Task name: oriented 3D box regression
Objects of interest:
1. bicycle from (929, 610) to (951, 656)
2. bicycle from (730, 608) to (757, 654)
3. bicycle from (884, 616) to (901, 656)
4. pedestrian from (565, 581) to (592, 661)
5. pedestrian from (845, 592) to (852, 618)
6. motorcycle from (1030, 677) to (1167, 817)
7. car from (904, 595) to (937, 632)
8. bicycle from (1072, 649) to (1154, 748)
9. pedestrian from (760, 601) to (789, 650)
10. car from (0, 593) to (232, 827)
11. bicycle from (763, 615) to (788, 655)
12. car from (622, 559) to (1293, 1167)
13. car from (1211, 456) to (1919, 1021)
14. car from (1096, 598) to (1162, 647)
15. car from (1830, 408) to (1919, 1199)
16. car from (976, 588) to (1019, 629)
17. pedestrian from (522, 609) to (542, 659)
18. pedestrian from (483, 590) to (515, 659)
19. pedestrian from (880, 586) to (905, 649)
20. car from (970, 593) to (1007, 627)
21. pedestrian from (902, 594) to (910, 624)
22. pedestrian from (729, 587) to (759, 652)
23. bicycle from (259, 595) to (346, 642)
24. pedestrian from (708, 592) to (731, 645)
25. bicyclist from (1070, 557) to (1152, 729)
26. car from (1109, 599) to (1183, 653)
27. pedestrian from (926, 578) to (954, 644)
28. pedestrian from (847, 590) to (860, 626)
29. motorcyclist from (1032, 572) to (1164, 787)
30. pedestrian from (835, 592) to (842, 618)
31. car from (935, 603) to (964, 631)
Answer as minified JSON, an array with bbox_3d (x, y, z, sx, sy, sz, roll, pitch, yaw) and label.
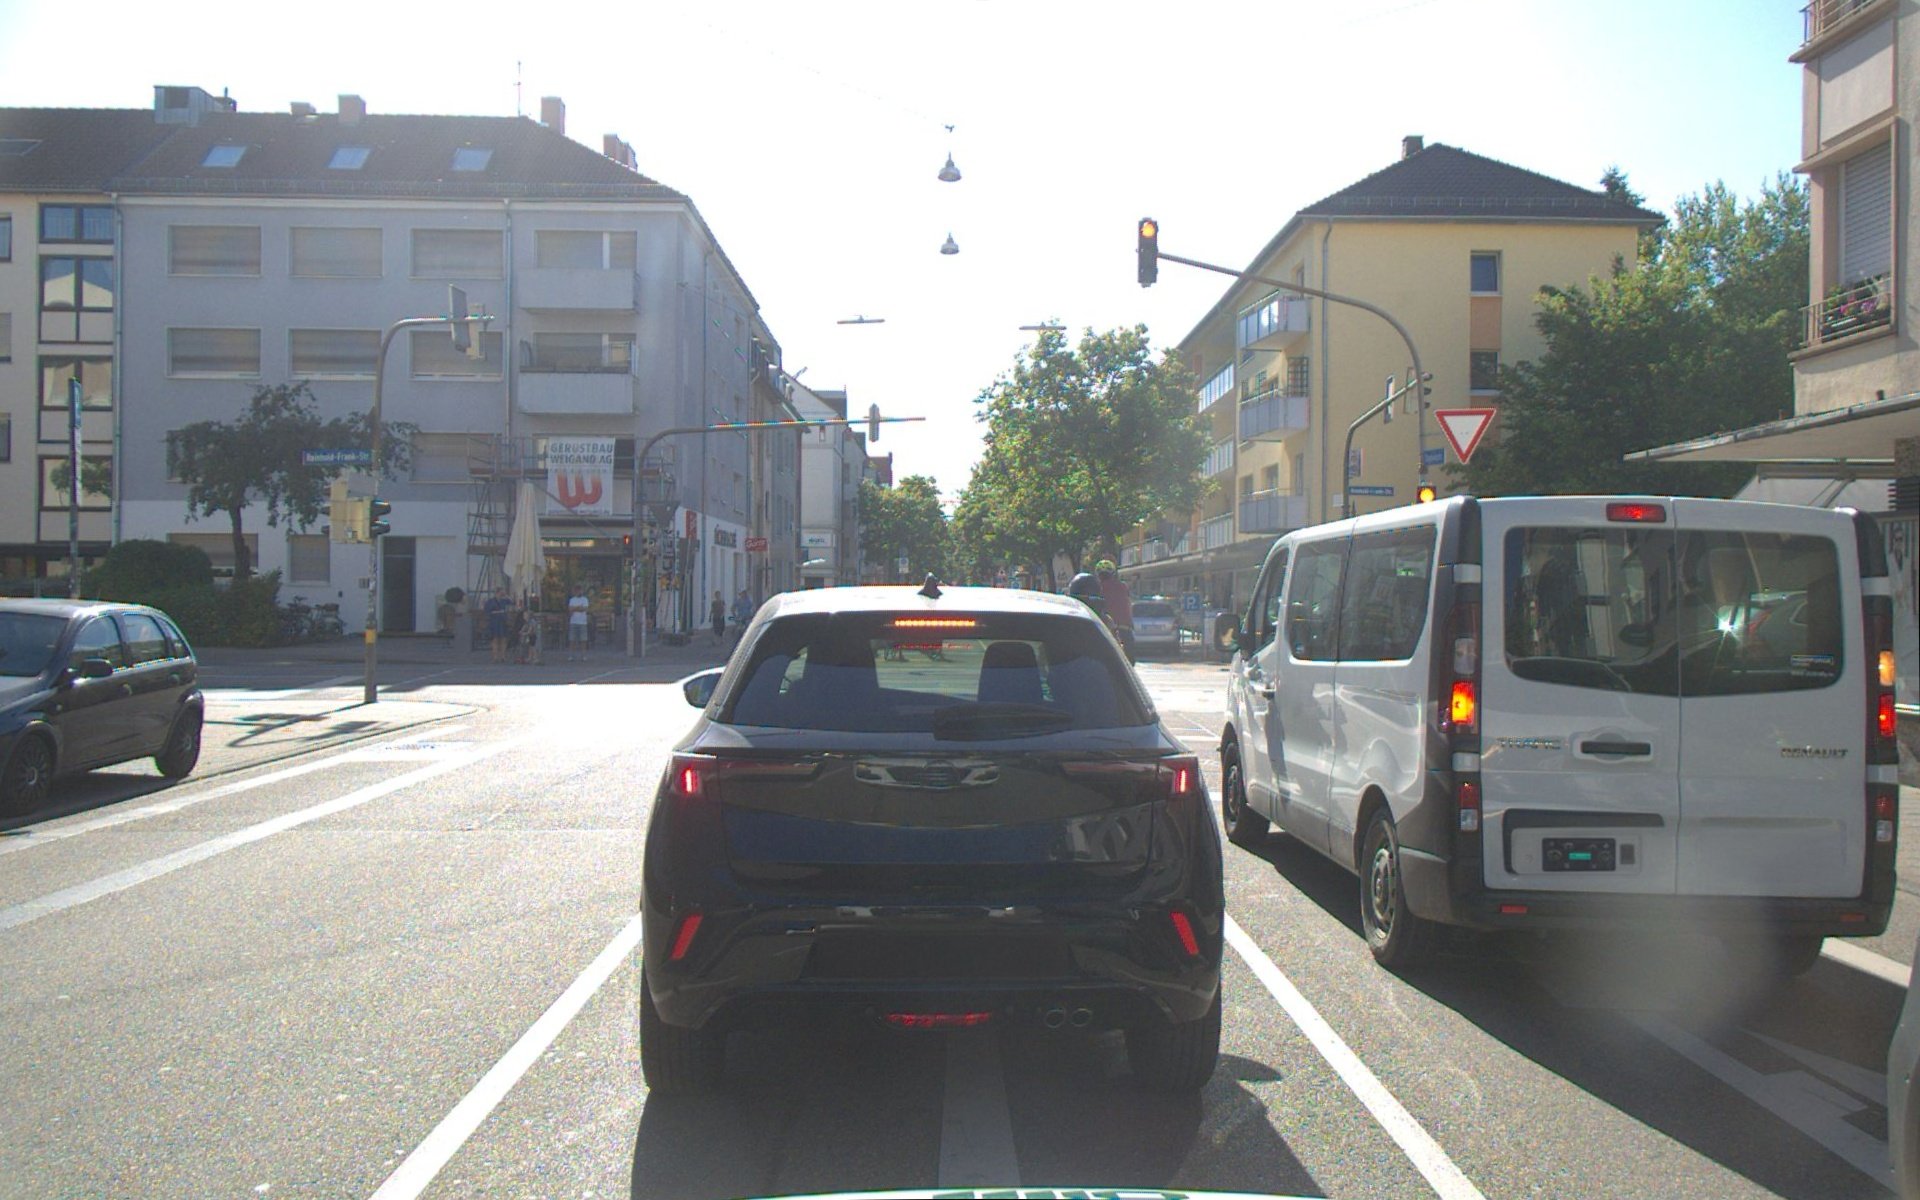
[{"bbox_3d":[-0.544,0.852,43.674,0.511,1.167,2.169,0,0,-3],"label":"bicycle"},{"bbox_3d":[-5.731,0.815,43.788,0.511,1.167,2.282,0,0,-3],"label":"bicycle"},{"bbox_3d":[-1.804,0.938,43.861,0.434,1.010,2.068,0,0,-3],"label":"bicycle"},{"bbox_3d":[-8.751,0.471,37.923,0.550,1.806,0.582,1,0,-9],"label":"pedestrian"},{"bbox_3d":[-7.214,0.329,107.022,0.394,1.704,0.417,0,0,-1],"label":"pedestrian"},{"bbox_3d":[0.978,1.041,12.164,0.808,0.860,1.884,0,0,-1],"label":"motorcycle"},{"bbox_3d":[-2.211,0.721,93.434,1.817,2.049,3.880,0,0,-1],"label":"car"},{"bbox_3d":[1.602,1.016,17.626,0.565,0.920,2.300,0,0,-3],"label":"bicycle"},{"bbox_3d":[-4.869,0.657,43.516,0.692,1.275,0.802,0,0,-3],"label":"pedestrian"},{"bbox_3d":[-7.084,0.716,12.415,1.584,1.450,3.709,3,0,-1],"label":"car"},{"bbox_3d":[-4.867,0.919,43.742,0.511,1.010,2.338,0,0,-3],"label":"bicycle"},{"bbox_3d":[-0.083,0.670,6.285,1.735,1.557,3.998,0,0,-3],"label":"car"},{"bbox_3d":[2.721,0.506,8.492,1.953,2.014,4.894,2,0,-2],"label":"car"},{"bbox_3d":[5.268,0.688,51.941,1.601,1.458,3.999,0,0,-1],"label":"car"},{"bbox_3d":[2.987,0.573,1.238,1.800,1.901,4.992,0,0,-4],"label":"car"},{"bbox_3d":[1.673,0.365,74.184,1.863,1.758,4.073,0,0,0],"label":"car"},{"bbox_3d":[-9.636,0.771,37.238,0.348,1.111,0.461,0,0,-4],"label":"pedestrian"},{"bbox_3d":[-10.374,0.545,37.234,0.573,1.547,0.649,0,0,-4],"label":"pedestrian"},{"bbox_3d":[-1.784,0.460,43.699,0.666,1.634,0.762,0,0,-3],"label":"pedestrian"},{"bbox_3d":[1.482,0.509,87.330,1.863,1.758,4.000,0,0,0],"label":"car"},{"bbox_3d":[-3.099,0.514,95.035,0.478,1.719,0.588,0,0,-1],"label":"pedestrian"},{"bbox_3d":[-5.684,0.509,43.573,0.692,1.707,0.802,0,0,-3],"label":"pedestrian"},{"bbox_3d":[-16.890,0.475,42.486,2.067,1.193,0.735,0,0,-25],"label":"bicycle"},{"bbox_3d":[-7.001,0.530,48.096,0.605,1.547,0.724,0,0,-4],"label":"pedestrian"},{"bbox_3d":[1.580,0.431,17.487,0.675,1.742,1.413,0,0,-3],"label":"bicyclist"},{"bbox_3d":[5.277,0.719,47.282,1.601,1.458,3.956,0,0,-1],"label":"car"},{"bbox_3d":[-0.526,0.291,43.626,0.692,1.731,0.802,0,0,-3],"label":"pedestrian"},{"bbox_3d":[-5.226,0.389,81.265,0.558,1.719,0.588,0,0,1],"label":"pedestrian"},{"bbox_3d":[1.005,0.564,12.329,0.846,1.528,1.159,0,0,-2],"label":"motorcyclist"},{"bbox_3d":[-7.894,0.313,107.402,0.394,1.704,0.417,0,0,-1],"label":"pedestrian"},{"bbox_3d":[-0.677,1.114,109.148,1.787,1.758,4.000,0,0,1],"label":"car"}]
